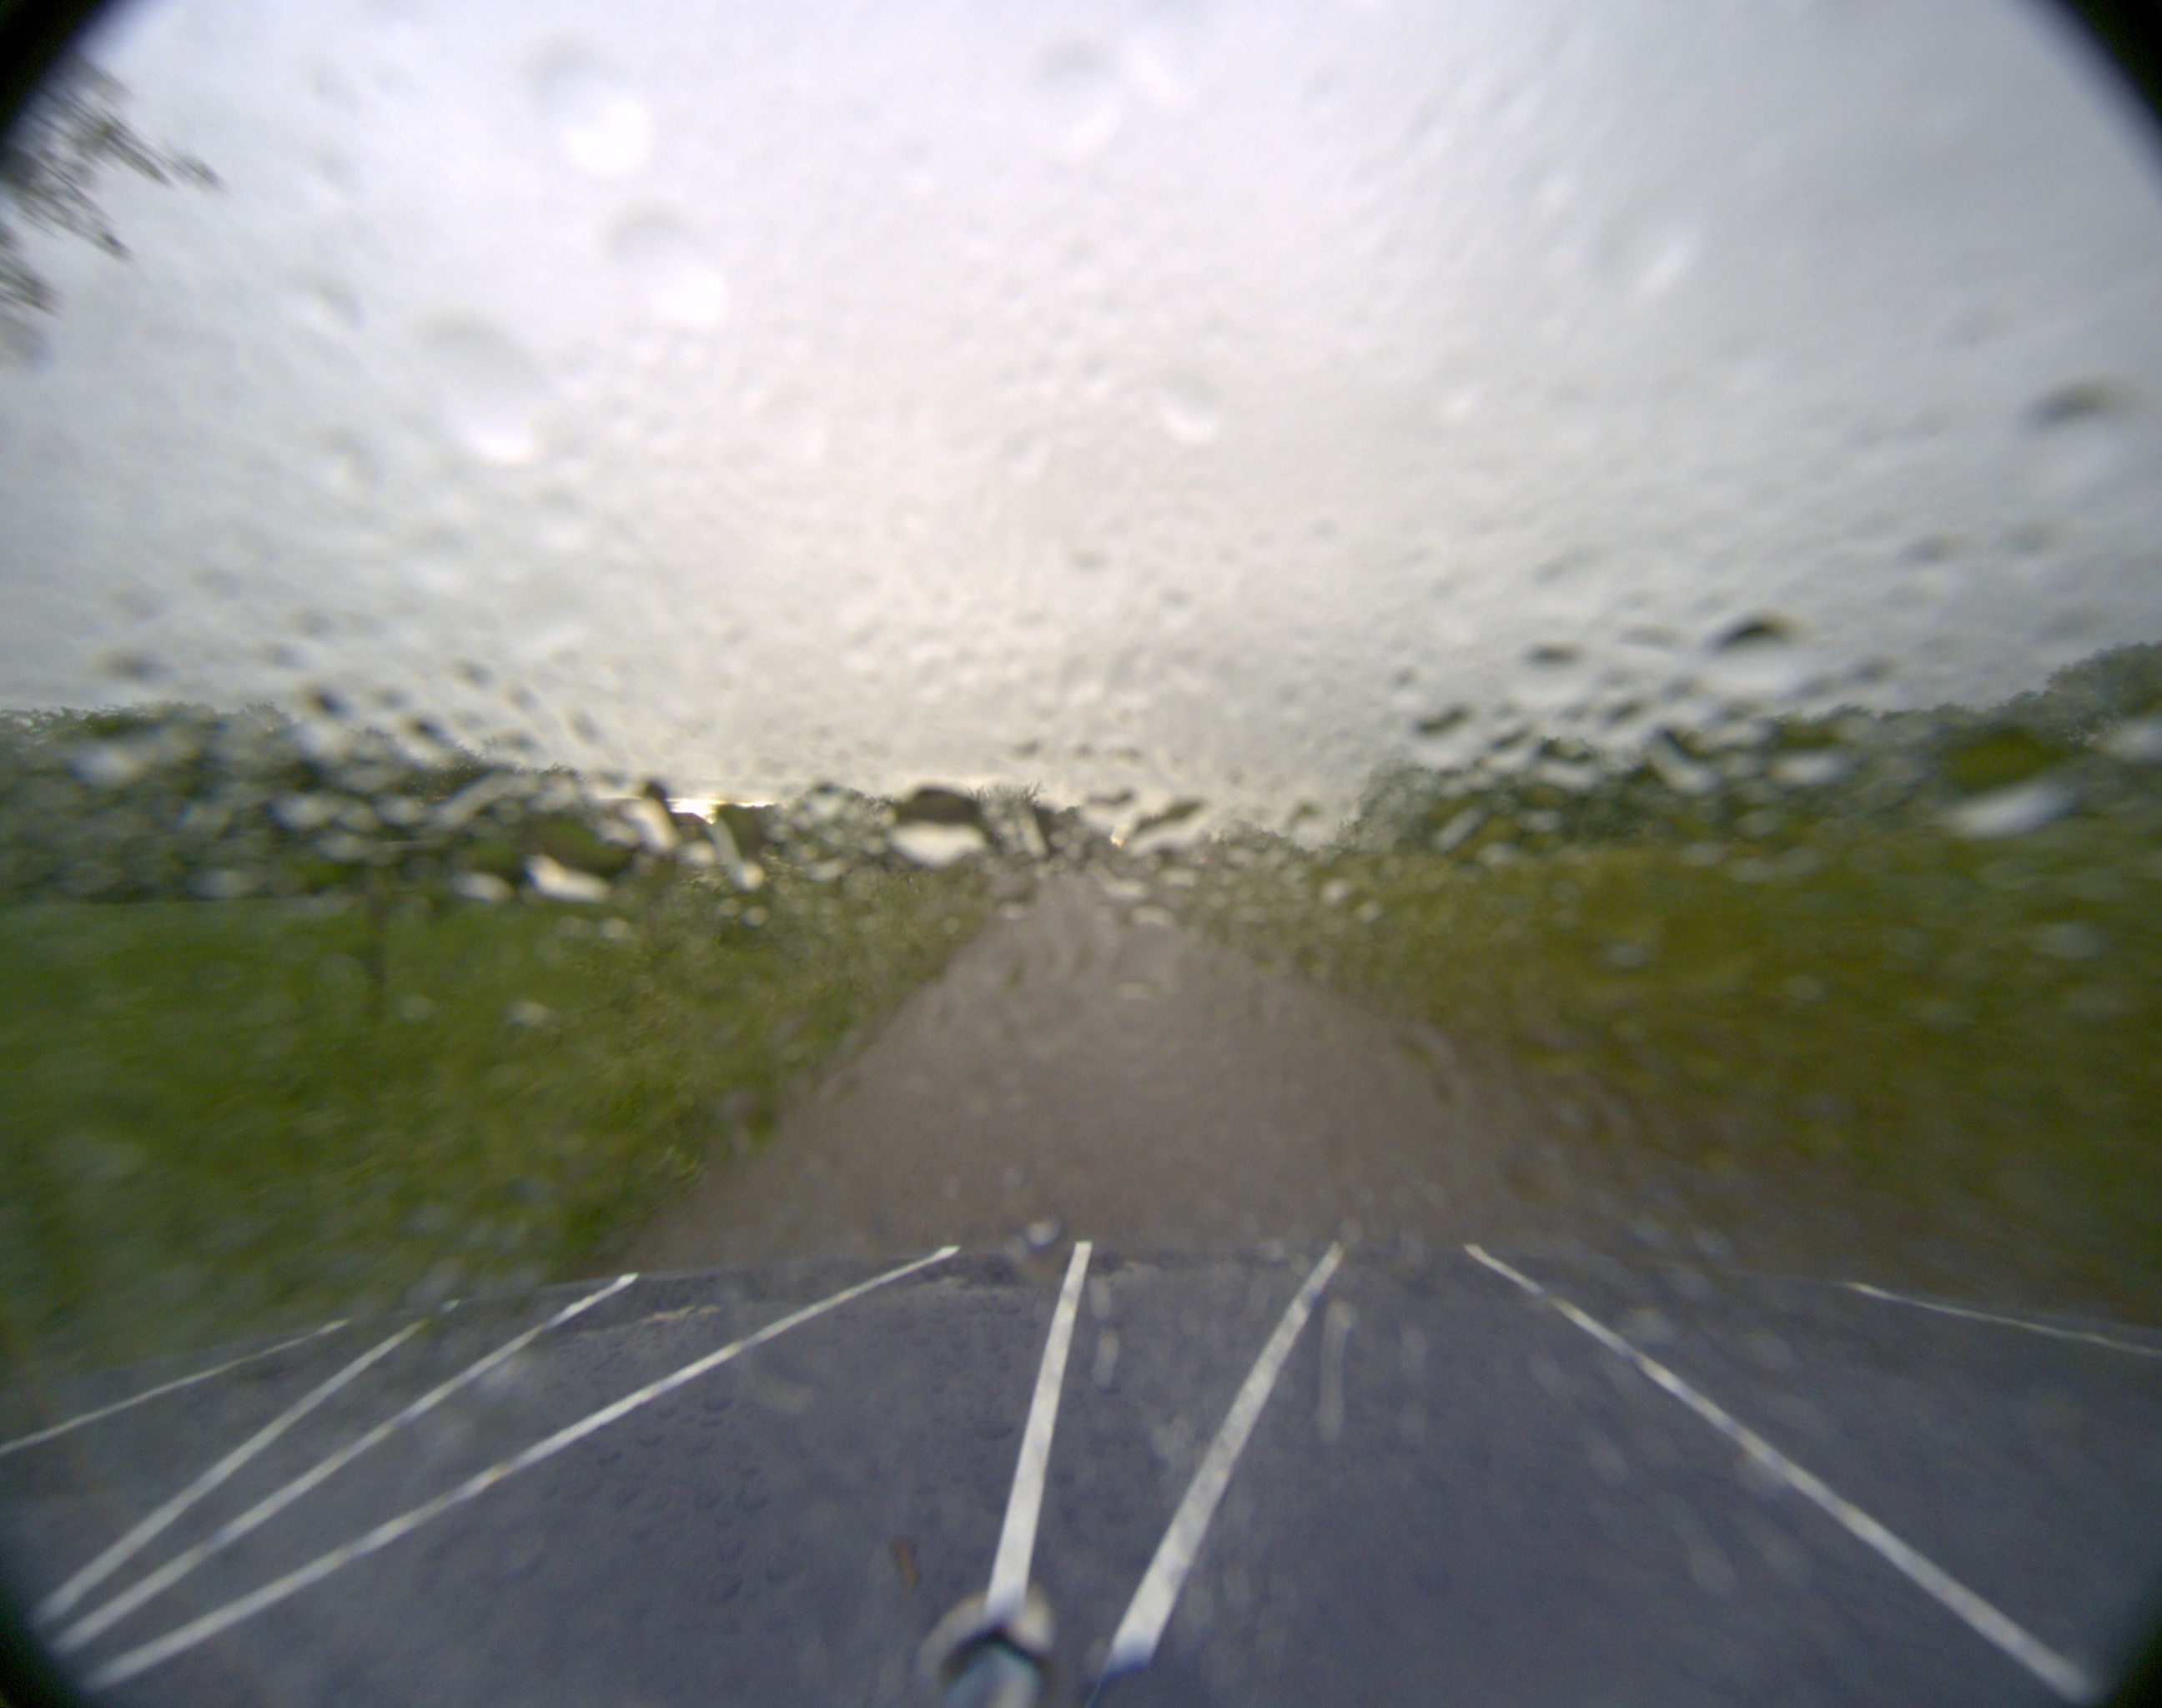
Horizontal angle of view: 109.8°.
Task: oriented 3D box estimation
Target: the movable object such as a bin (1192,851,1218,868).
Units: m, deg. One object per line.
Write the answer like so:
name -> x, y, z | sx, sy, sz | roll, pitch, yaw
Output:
movable object such as a bin -> 11.592, 0.501, 71.126 | 1.683, 1.562, 3.537 | -2, 0, -3
